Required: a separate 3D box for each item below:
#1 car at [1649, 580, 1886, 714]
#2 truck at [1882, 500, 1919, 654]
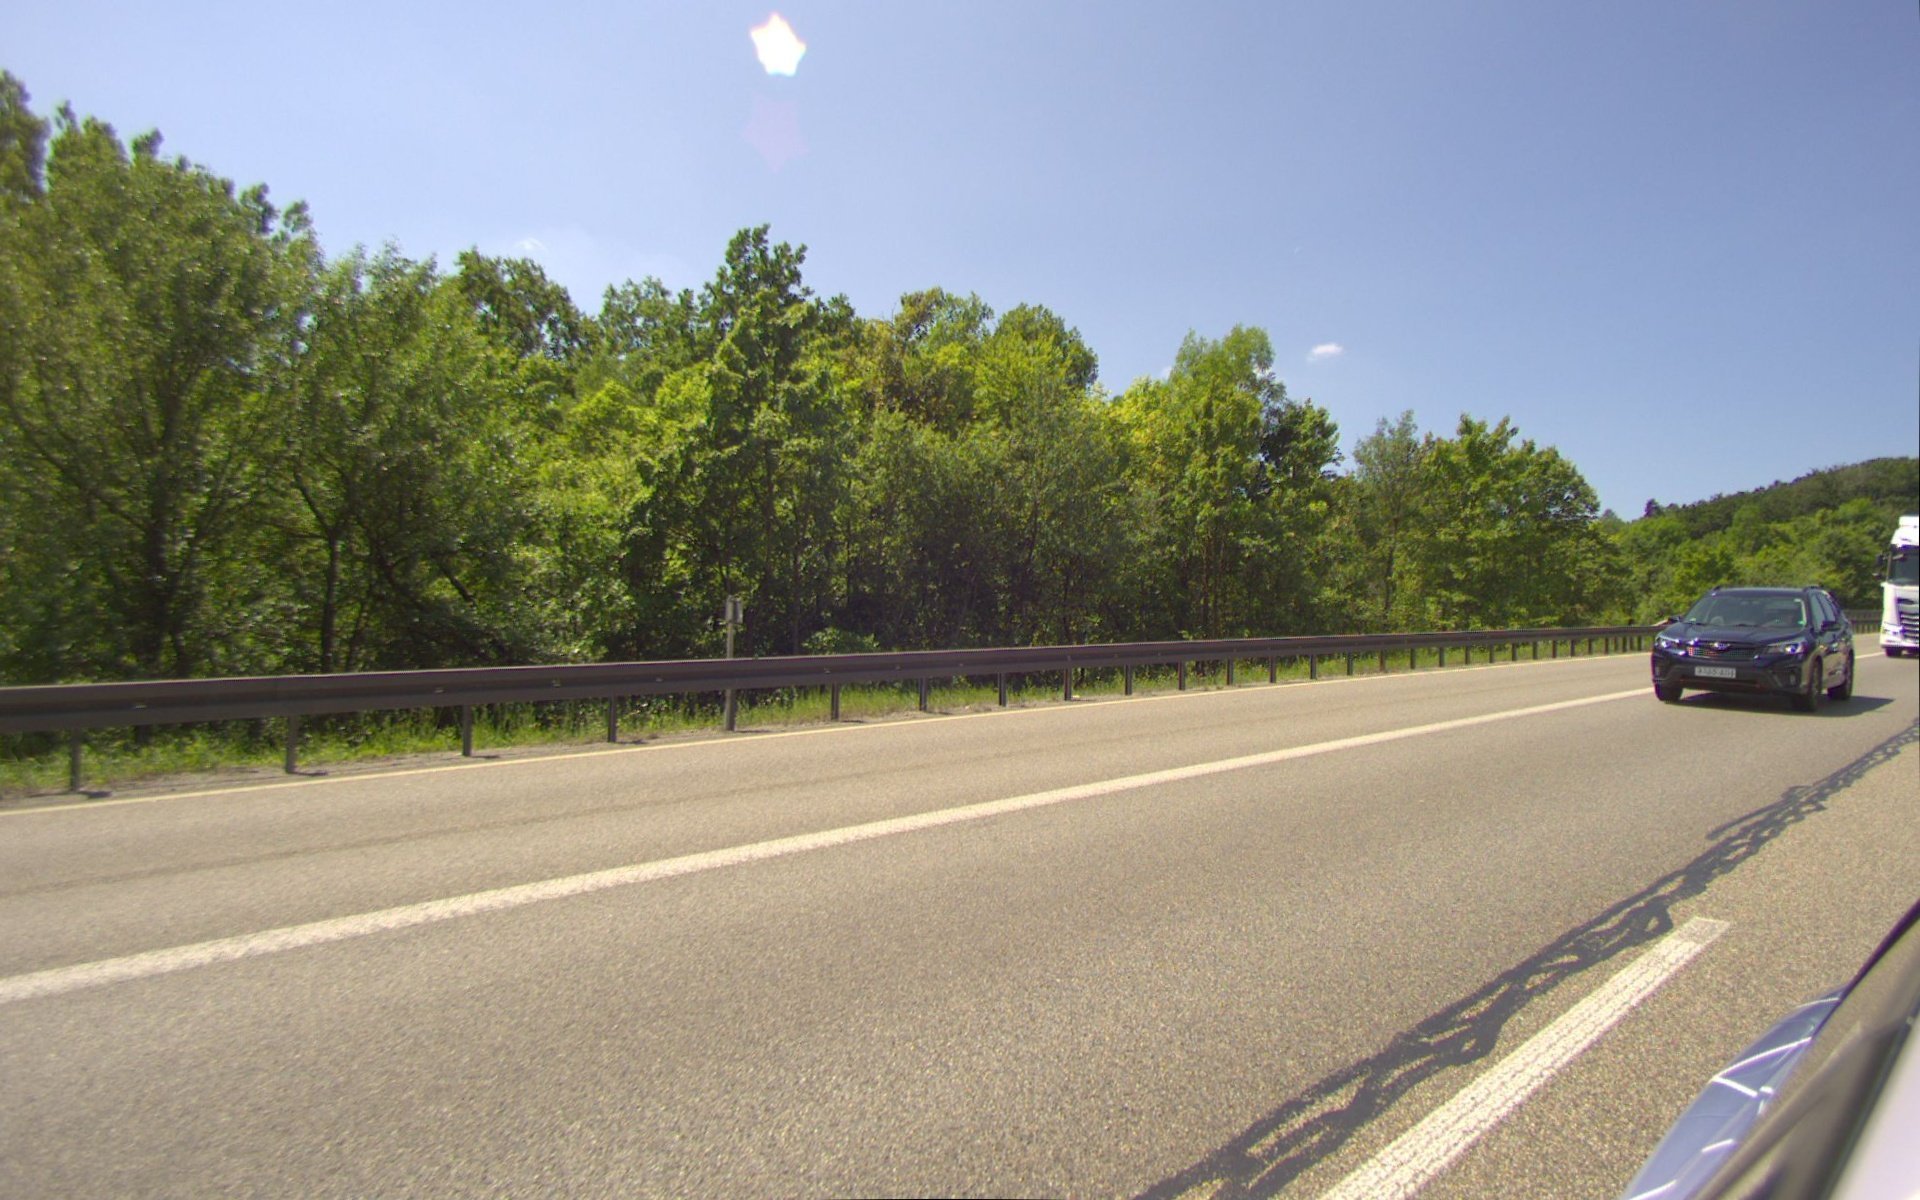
[{"bbox_3d":[11.892,0.568,14.830,4.127,1.688,1.816,0,1,-38],"label":"car"},{"bbox_3d":[32.908,-0.620,32.207,15.972,4.221,2.790,0,0,-39],"label":"truck"}]
